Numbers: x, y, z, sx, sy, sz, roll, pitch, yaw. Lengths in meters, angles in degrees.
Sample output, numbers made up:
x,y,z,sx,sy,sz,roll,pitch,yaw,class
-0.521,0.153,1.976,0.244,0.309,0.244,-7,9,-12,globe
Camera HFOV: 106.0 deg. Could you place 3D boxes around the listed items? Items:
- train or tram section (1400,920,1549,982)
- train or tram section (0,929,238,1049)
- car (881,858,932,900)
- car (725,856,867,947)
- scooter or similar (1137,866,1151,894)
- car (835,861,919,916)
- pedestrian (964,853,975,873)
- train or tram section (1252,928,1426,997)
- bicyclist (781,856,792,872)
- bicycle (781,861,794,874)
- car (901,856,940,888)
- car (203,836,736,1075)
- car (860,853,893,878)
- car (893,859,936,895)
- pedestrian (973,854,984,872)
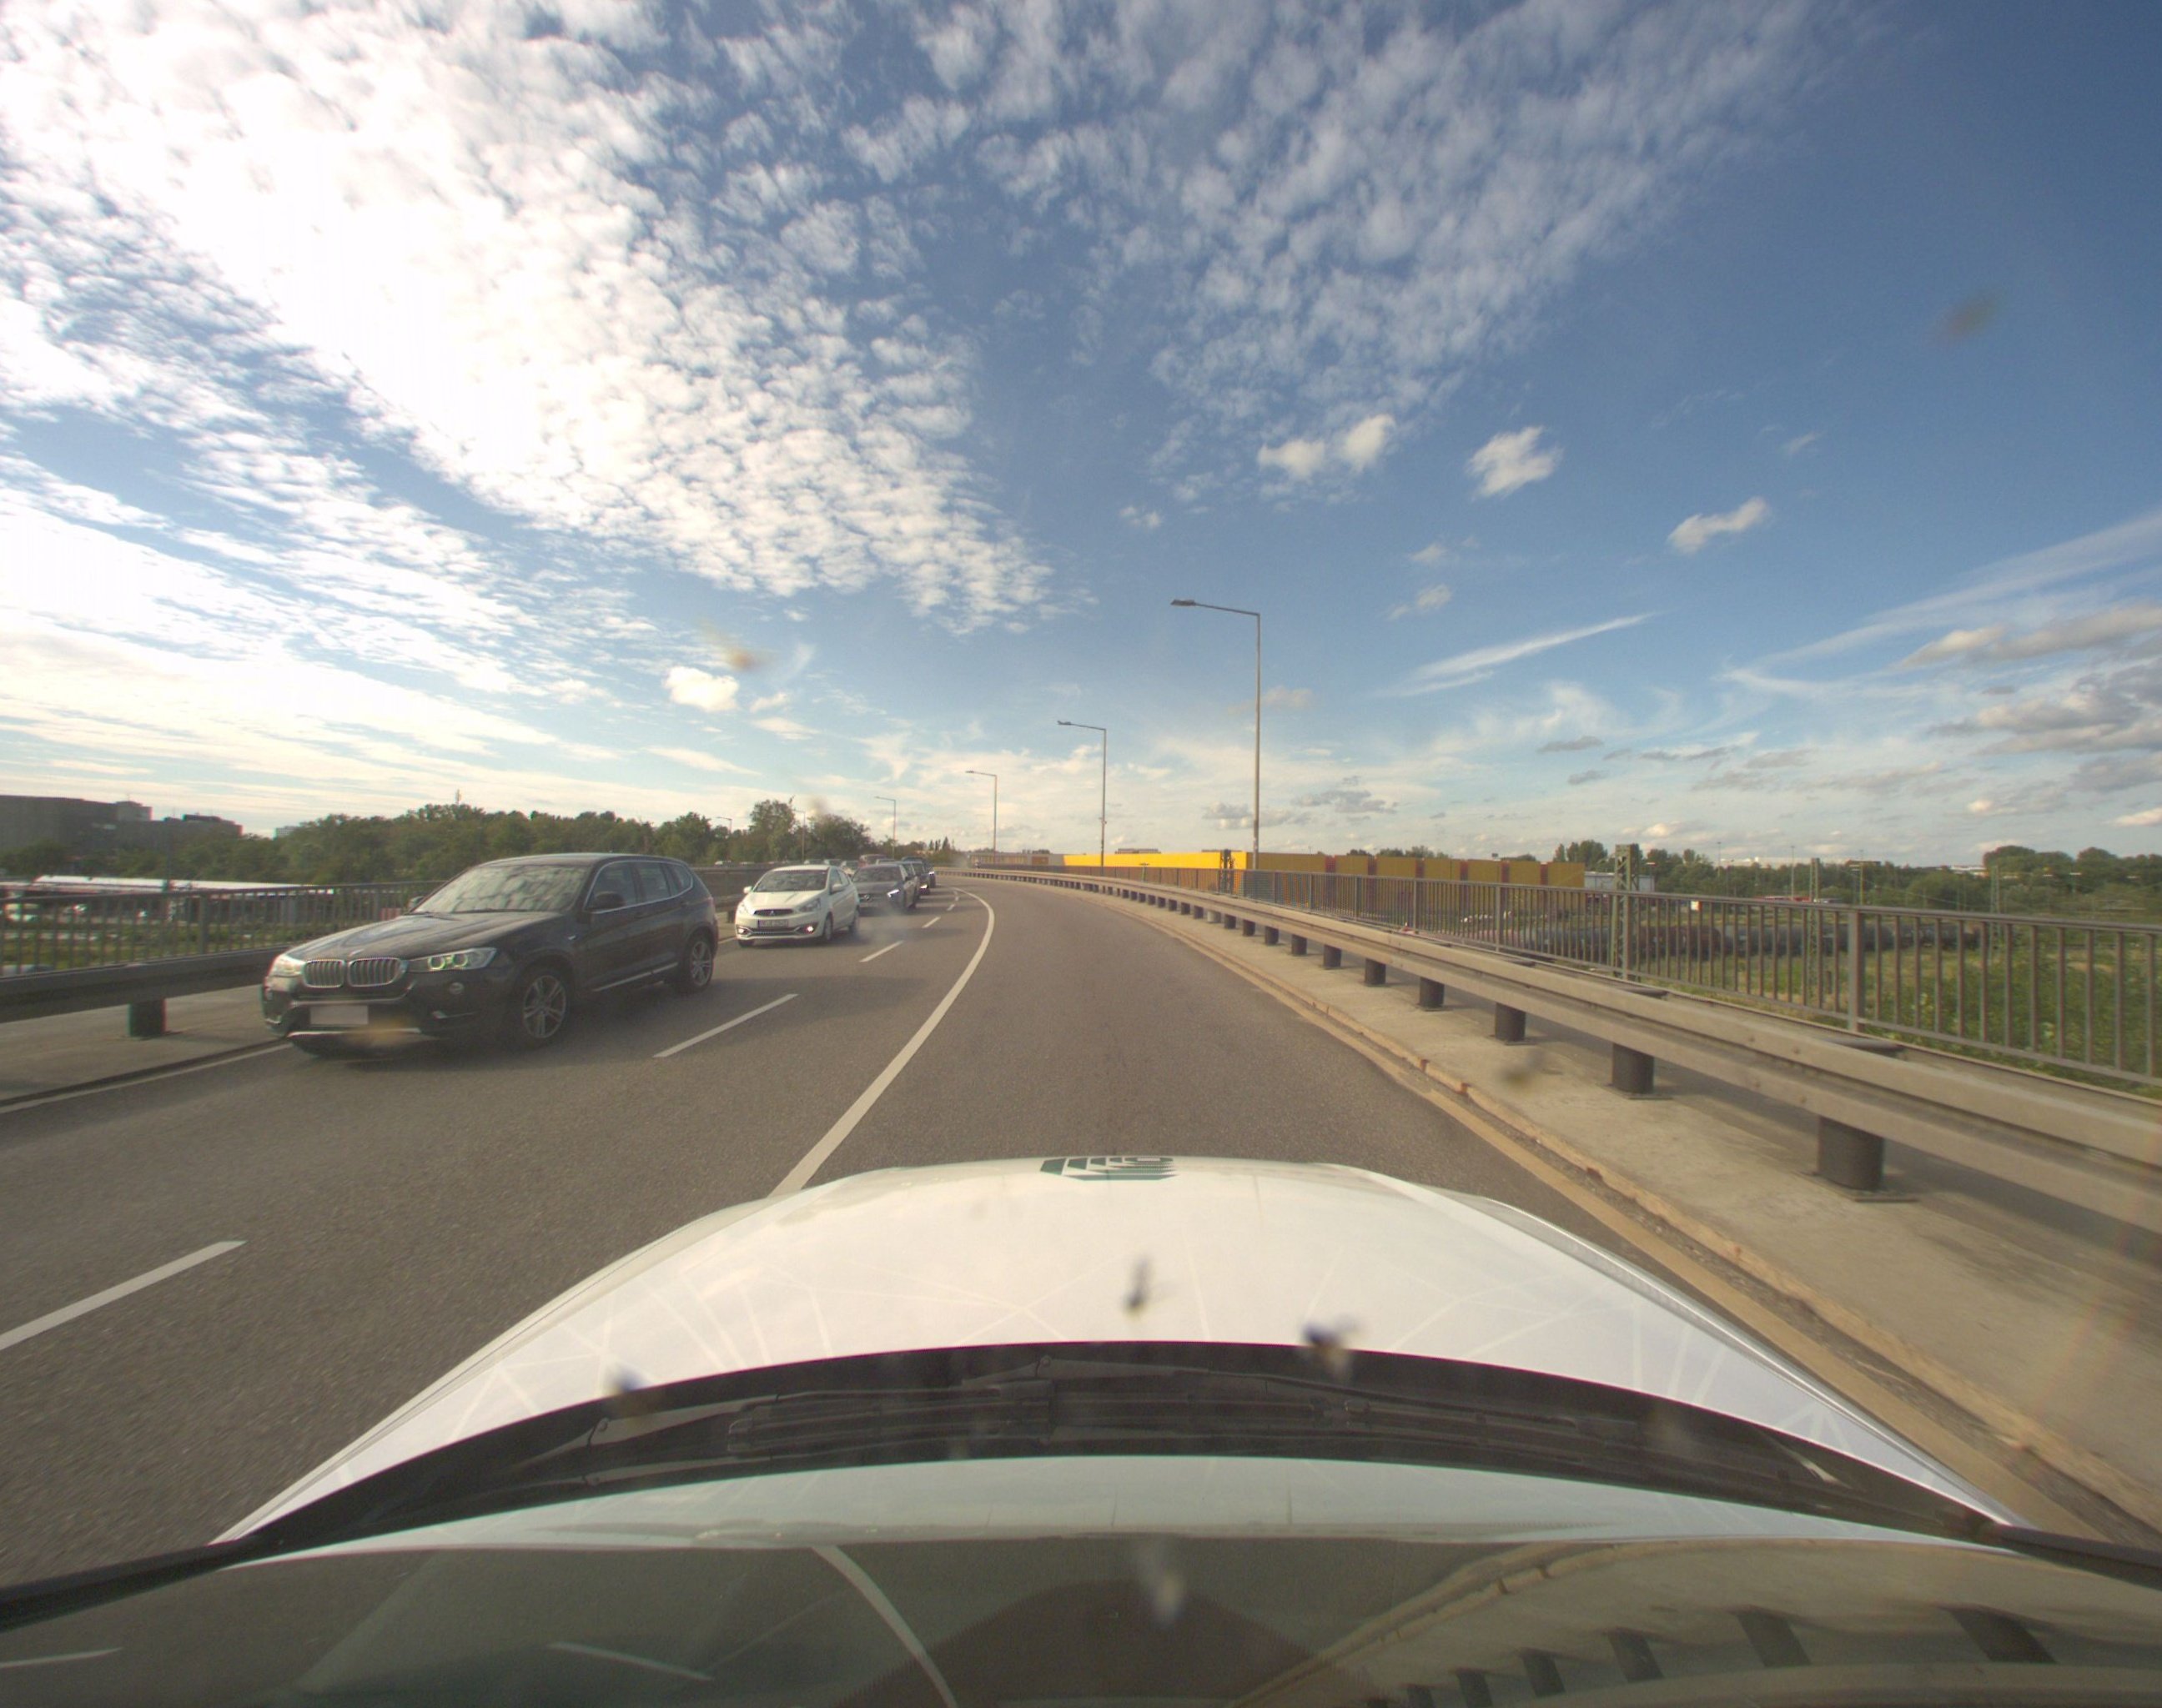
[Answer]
x,y,z,sx,sy,sz,roll,pitch,yaw,class
38.045,9.167,78.324,16.777,4.713,3.071,0,-1,-25,train or tram section
-49.393,6.180,36.042,16.772,4.713,3.072,0,-1,-25,train or tram section
-6.662,0.914,31.300,1.761,1.490,4.373,-1,0,-12,car
-5.530,0.850,16.305,1.680,1.545,3.917,-2,0,-4,car
2.698,1.094,34.919,0.265,1.162,1.184,-1,-1,-10,scooter or similar
-5.910,0.939,24.079,1.811,1.457,4.315,-1,0,-6,car
-9.346,0.756,68.312,0.679,1.661,0.859,0,-1,-21,pedestrian
22.815,9.273,71.254,16.772,4.713,3.072,0,-1,-25,train or tram section
-29.351,1.006,81.282,0.772,1.661,1.108,0,-1,-35,bicyclist
-29.319,1.360,81.227,0.770,1.332,1.895,0,-1,-35,bicycle
-9.154,0.988,46.211,1.832,1.672,4.842,-1,0,-15,car
-5.411,0.745,8.223,1.864,1.666,4.628,-2,0,0,car
-16.546,0.937,65.751,2.015,1.903,4.833,-1,0,-21,car
-7.588,1.013,37.169,1.761,1.490,4.427,-1,0,-12,car
-8.622,0.751,68.650,0.679,1.544,0.954,0,-1,-21,pedestrian
